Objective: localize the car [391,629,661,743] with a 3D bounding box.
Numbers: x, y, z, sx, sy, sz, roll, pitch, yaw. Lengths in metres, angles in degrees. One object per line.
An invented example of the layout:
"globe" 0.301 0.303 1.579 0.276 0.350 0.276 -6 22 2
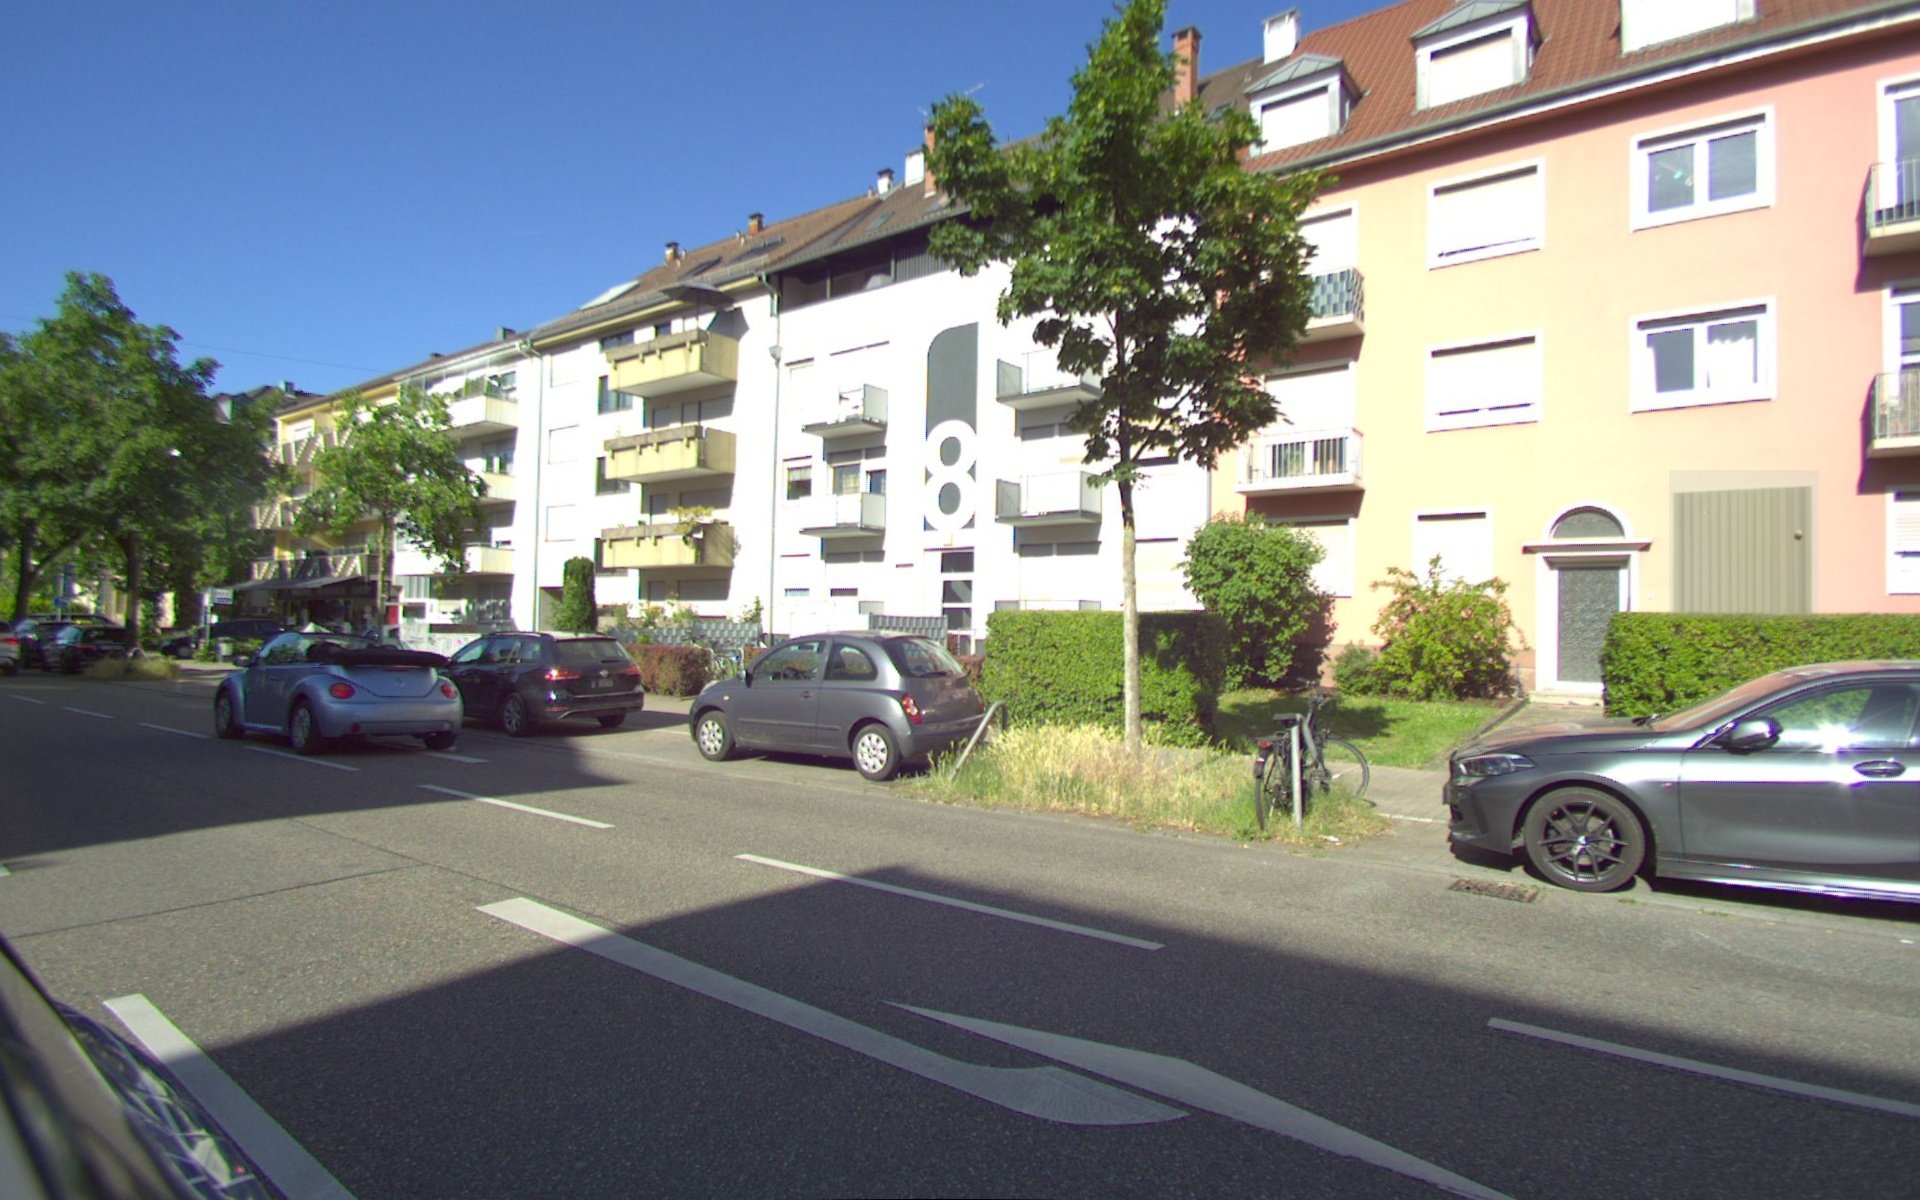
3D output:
"car" -6.709 1.215 15.452 4.484 1.505 1.769 -2 -3 37

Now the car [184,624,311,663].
"car" -28.371 1.710 40.369 3.940 1.472 1.734 1 -3 -44

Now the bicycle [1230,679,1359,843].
"bicycle" 2.710 1.225 8.120 0.547 1.143 1.529 -2 -4 36

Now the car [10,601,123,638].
"car" -48.483 1.077 55.032 1.861 1.893 4.309 -1 -2 14

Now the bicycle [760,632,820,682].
"bicycle" -3.973 1.315 23.574 1.546 1.120 0.444 -2 -4 38

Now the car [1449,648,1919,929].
"car" 5.430 1.014 5.988 4.355 1.419 1.753 -2 -2 34

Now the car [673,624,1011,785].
"car" -1.413 1.074 11.580 3.649 1.537 1.661 -2 -1 34

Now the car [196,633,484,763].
"car" -7.873 1.152 12.750 3.929 1.392 1.721 -2 -5 37

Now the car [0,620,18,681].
"car" -28.609 1.373 28.773 4.664 1.660 1.790 -1 -5 37

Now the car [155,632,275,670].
"car" -30.789 2.090 41.988 3.933 1.467 1.737 1 -2 -35

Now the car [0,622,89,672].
"car" -31.296 1.553 34.334 4.127 1.608 1.707 -1 -2 35

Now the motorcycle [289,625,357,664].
"motorcycle" -25.128 1.736 39.940 2.125 1.497 0.782 1 -3 -44

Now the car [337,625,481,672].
"car" -18.890 1.631 34.862 1.878 1.498 3.950 -2 -2 36

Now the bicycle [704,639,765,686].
"bicycle" -4.961 1.360 22.262 1.546 0.990 0.395 -2 -4 38

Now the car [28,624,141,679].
"car" -26.826 1.512 30.960 4.673 1.547 1.706 -1 -2 38

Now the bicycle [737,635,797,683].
"bicycle" -4.383 1.332 22.949 1.546 1.061 0.416 -2 -4 38
